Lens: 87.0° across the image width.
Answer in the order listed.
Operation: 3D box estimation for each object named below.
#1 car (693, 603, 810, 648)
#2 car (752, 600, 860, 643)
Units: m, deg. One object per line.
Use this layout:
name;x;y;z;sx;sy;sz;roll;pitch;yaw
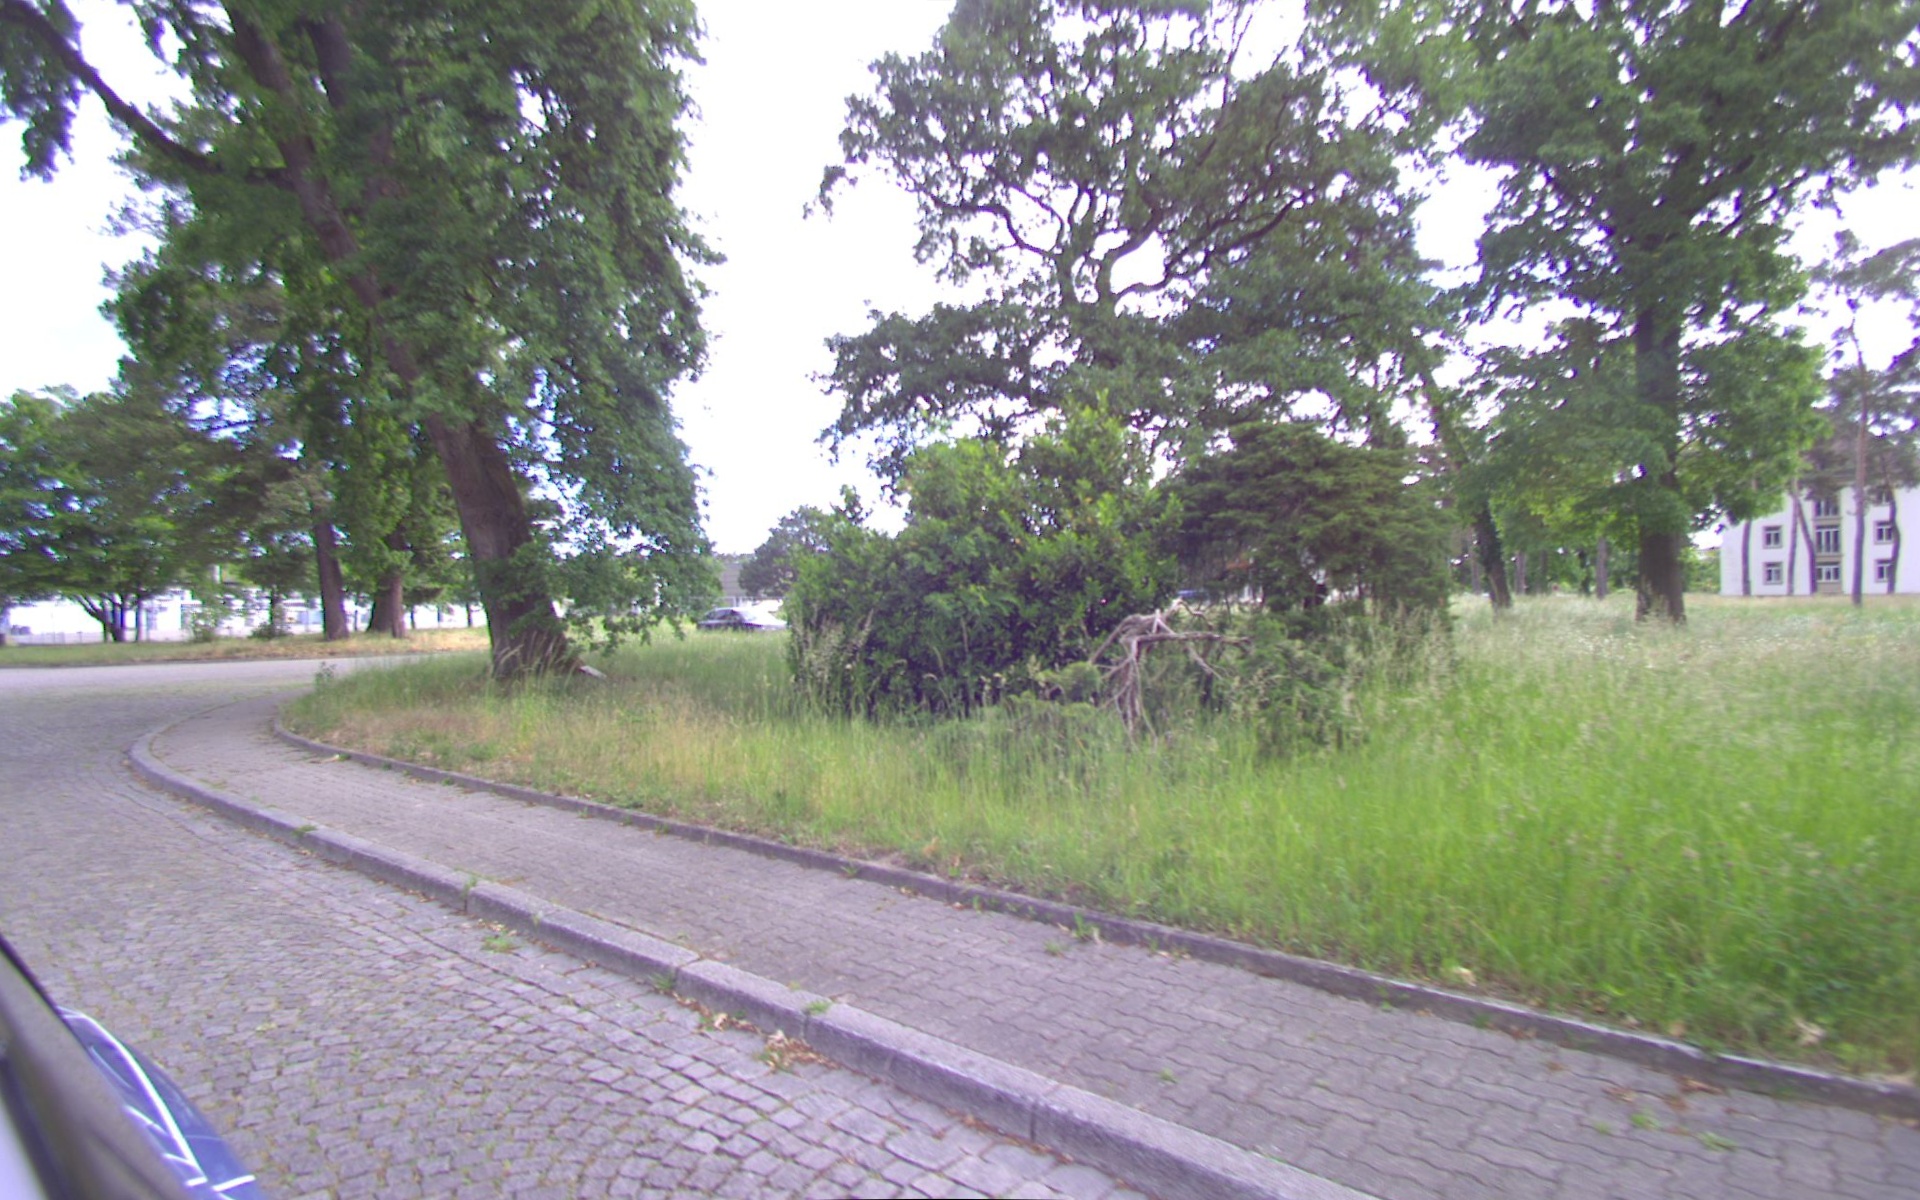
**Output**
car;-7.349;0.922;35.391;4.354;1.415;1.740;-3;-1;42
car;-6.191;0.863;40.385;4.360;1.574;1.742;-3;-1;38
